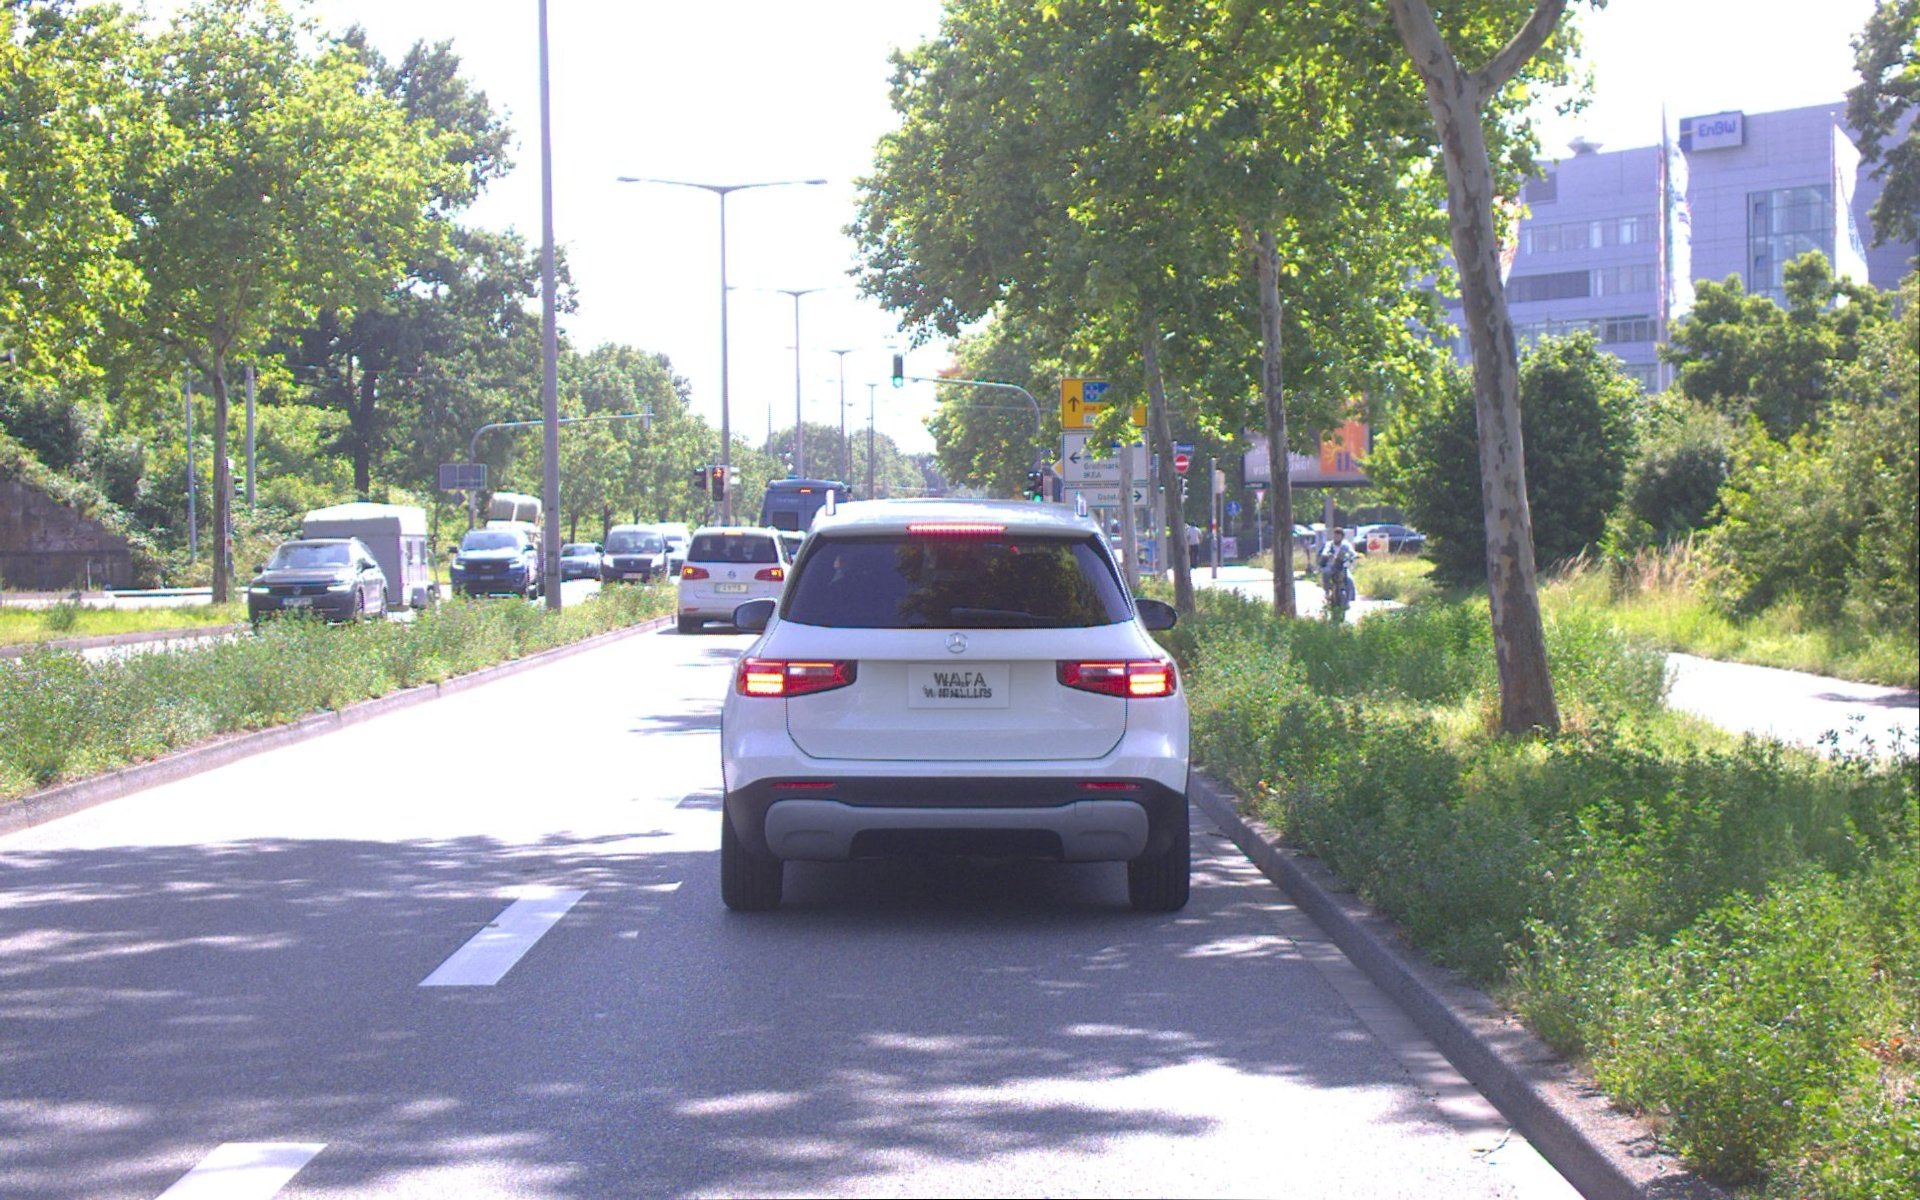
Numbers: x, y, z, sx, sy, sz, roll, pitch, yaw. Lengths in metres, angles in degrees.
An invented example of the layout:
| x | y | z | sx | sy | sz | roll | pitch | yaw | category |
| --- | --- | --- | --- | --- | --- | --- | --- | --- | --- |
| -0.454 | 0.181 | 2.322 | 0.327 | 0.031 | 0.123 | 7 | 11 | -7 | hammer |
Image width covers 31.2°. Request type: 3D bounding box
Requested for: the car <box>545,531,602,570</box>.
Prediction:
| x | y | z | sx | sy | sz | roll | pitch | yaw | category |
| --- | --- | --- | --- | --- | --- | --- | --- | --- | --- |
| -13.983 | -1.792 | 124.563 | 1.701 | 1.360 | 3.646 | 0 | 1 | -1 | car |

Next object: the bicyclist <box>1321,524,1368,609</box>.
| x | y | z | sx | sy | sz | roll | pitch | yaw | category |
| --- | --- | --- | --- | --- | --- | --- | --- | --- | --- |
| 6.722 | -0.586 | 60.132 | 0.704 | 1.472 | 1.010 | 0 | 1 | 1 | bicyclist |

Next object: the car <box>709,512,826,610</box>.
| x | y | z | sx | sy | sz | roll | pitch | yaw | category |
| --- | --- | --- | --- | --- | --- | --- | --- | --- | --- |
| -3.333 | -0.698 | 60.201 | 1.771 | 1.641 | 4.084 | 0 | 1 | 1 | car |

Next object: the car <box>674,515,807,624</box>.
| x | y | z | sx | sy | sz | roll | pitch | yaw | category |
| --- | --- | --- | --- | --- | --- | --- | --- | --- | --- |
| -3.422 | -0.499 | 54.251 | 1.771 | 1.641 | 4.352 | 0 | 1 | 1 | car |

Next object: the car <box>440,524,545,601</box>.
| x | y | z | sx | sy | sz | roll | pitch | yaw | category |
| --- | --- | --- | --- | --- | --- | --- | --- | --- | --- |
| -11.429 | -0.935 | 84.345 | 1.764 | 1.783 | 5.376 | 1 | 1 | 1 | car |

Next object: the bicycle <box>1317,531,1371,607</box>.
| x | y | z | sx | sy | sz | roll | pitch | yaw | category |
| --- | --- | --- | --- | --- | --- | --- | --- | --- | --- |
| 6.704 | -0.550 | 60.138 | 0.723 | 1.294 | 2.096 | 0 | 1 | 1 | bicycle |

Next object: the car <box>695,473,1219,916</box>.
| x | y | z | sx | sy | sz | roll | pitch | yaw | category |
| --- | --- | --- | --- | --- | --- | --- | --- | --- | --- |
| -0.156 | 0.303 | 14.576 | 1.853 | 1.602 | 4.001 | 0 | 1 | -5 | car |

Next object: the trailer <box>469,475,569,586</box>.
| x | y | z | sx | sy | sz | roll | pitch | yaw | category |
| --- | --- | --- | --- | --- | --- | --- | --- | --- | --- |
| -11.362 | -1.792 | 88.823 | 1.880 | 2.734 | 4.829 | 1 | 1 | 1 | trailer |

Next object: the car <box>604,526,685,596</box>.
| x | y | z | sx | sy | sz | roll | pitch | yaw | category |
| --- | --- | --- | --- | --- | --- | --- | --- | --- | --- |
| -8.531 | -1.071 | 93.338 | 1.731 | 1.803 | 4.232 | 1 | 1 | 1 | car |

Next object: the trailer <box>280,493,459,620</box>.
| x | y | z | sx | sy | sz | roll | pitch | yaw | category |
| --- | --- | --- | --- | --- | --- | --- | --- | --- | --- |
| -10.931 | -0.828 | 64.058 | 2.309 | 2.257 | 5.538 | 0 | 1 | 1 | trailer |

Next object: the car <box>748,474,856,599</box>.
| x | y | z | sx | sy | sz | roll | pitch | yaw | category |
| --- | --- | --- | --- | --- | --- | --- | --- | --- | --- |
| -3.477 | -1.411 | 76.258 | 2.081 | 2.647 | 4.874 | 1 | 1 | 1 | car |

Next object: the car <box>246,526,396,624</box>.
| x | y | z | sx | sy | sz | roll | pitch | yaw | category |
| --- | --- | --- | --- | --- | --- | --- | --- | --- | --- |
| -10.939 | -0.458 | 59.111 | 1.715 | 1.616 | 4.361 | 0 | 1 | 1 | car |
